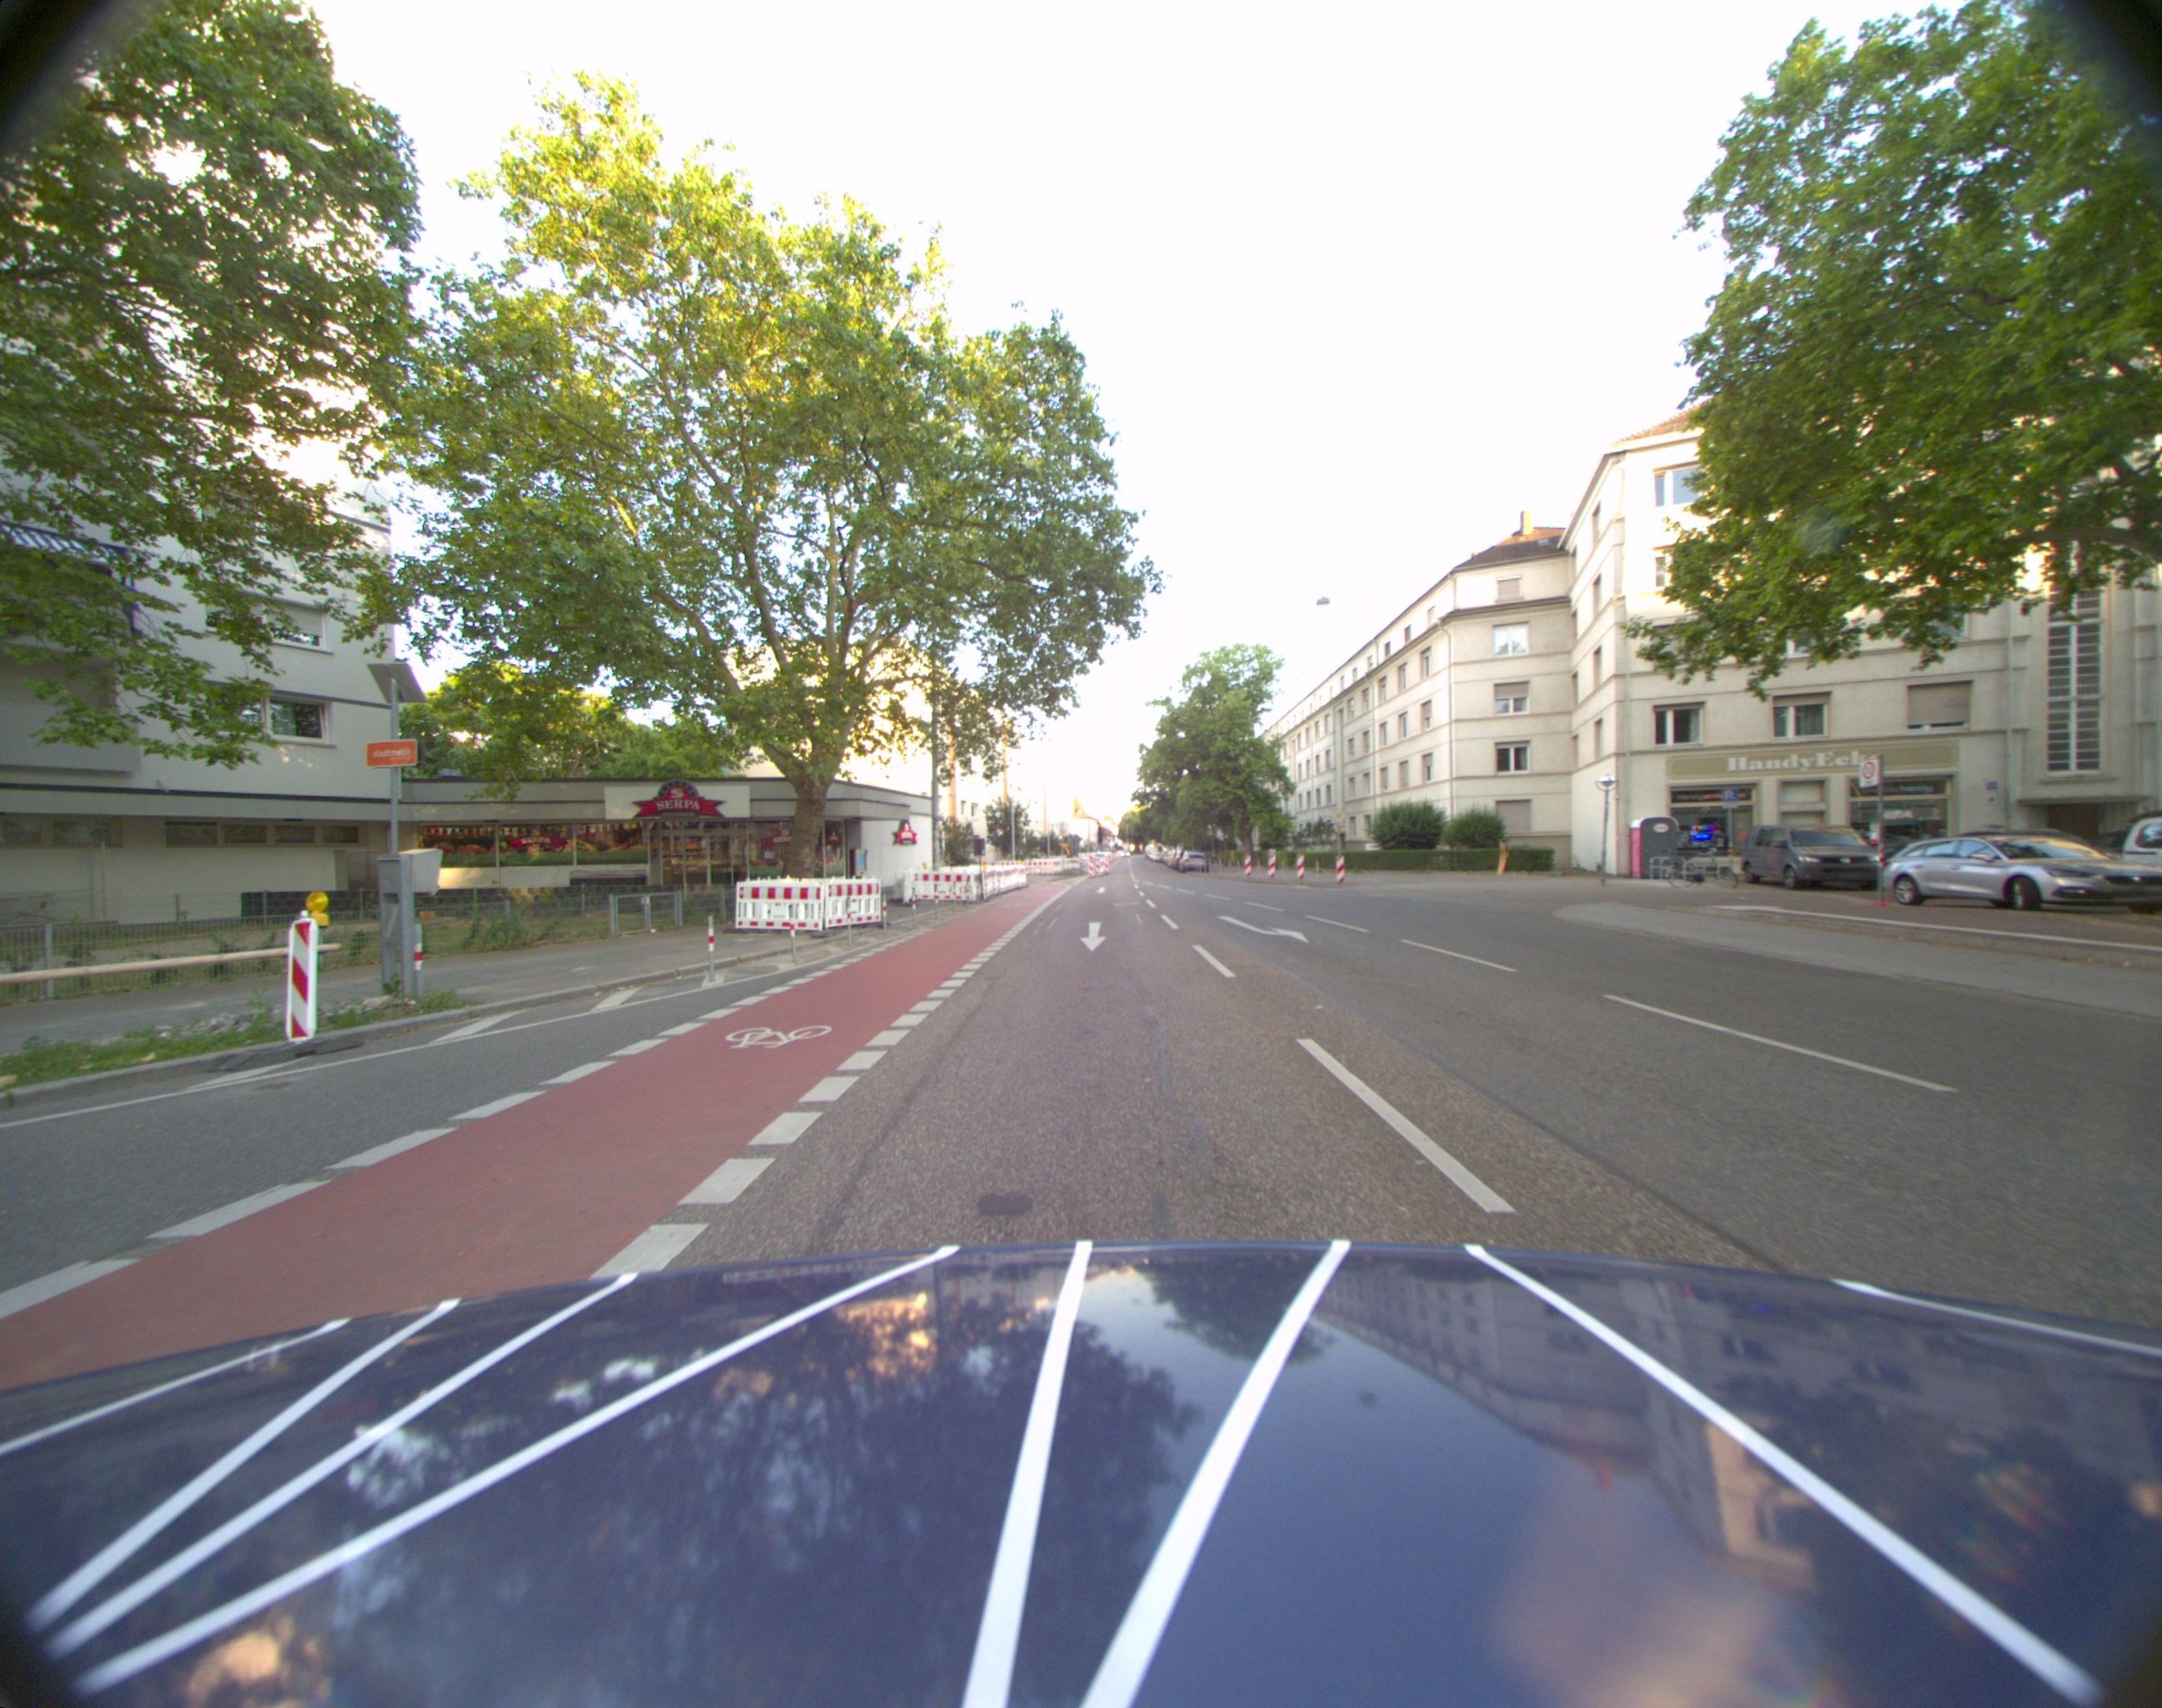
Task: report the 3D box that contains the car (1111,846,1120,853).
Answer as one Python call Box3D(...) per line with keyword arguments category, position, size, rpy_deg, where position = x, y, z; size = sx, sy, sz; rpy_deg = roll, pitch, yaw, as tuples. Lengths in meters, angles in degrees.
Box3D(category="car", position=(8.456, -1.175, 184.984), size=(1.892, 1.591, 4.260), rpy_deg=(-2, 1, 6))

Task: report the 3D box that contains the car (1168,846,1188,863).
Box3D(category="car", position=(10.301, 0.026, 81.079), size=(1.892, 1.591, 4.260), rpy_deg=(-2, 1, 6))

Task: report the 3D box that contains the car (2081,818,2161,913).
Box3D(category="car", position=(20.736, 0.207, 13.156), size=(1.995, 1.771, 4.648), rpy_deg=(0, 0, 21))

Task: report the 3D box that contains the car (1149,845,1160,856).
Box3D(category="car", position=(13.769, -0.632, 142.827), size=(1.892, 1.868, 4.946), rpy_deg=(-2, 1, 6))

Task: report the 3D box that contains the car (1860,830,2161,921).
Box3D(category="car", position=(18.149, 0.374, 14.837), size=(1.996, 1.494, 4.646), rpy_deg=(0, 0, 15))

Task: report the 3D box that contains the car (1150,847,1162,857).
Box3D(category="car", position=(13.115, -0.421, 132.951), size=(1.892, 1.591, 4.260), rpy_deg=(-2, 1, 6))

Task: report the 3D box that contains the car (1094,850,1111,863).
Box3D(category="car", position=(2.874, 0.306, 101.191), size=(1.892, 1.591, 4.260), rpy_deg=(-2, 1, 6))

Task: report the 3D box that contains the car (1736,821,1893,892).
Box3D(category="car", position=(22.627, -0.008, 23.718), size=(1.995, 1.945, 4.646), rpy_deg=(0, 3, 23))

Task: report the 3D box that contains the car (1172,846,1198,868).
Box3D(category="car", position=(8.463, 0.218, 62.301), size=(1.892, 1.681, 4.260), rpy_deg=(-2, 1, 6))

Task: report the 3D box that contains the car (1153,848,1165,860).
Box3D(category="car", position=(12.103, -0.028, 118.031), size=(1.892, 1.591, 4.260), rpy_deg=(-2, 1, 6))

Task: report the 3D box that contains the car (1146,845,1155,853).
Box3D(category="car", position=(15.168, -1.199, 166.231), size=(1.892, 1.591, 4.260), rpy_deg=(-2, 1, 6))

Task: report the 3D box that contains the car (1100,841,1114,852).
Box3D(category="car", position=(4.153, -1.288, 121.973), size=(1.892, 1.651, 4.260), rpy_deg=(-2, 1, 6))

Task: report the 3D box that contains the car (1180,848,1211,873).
Box3D(category="car", position=(8.150, 0.435, 54.353), size=(1.892, 1.591, 4.001), rpy_deg=(-2, 1, 6))

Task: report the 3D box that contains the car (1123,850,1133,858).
Box3D(category="car", position=(10.708, 0.003, 174.356), size=(1.997, 1.838, 4.001), rpy_deg=(-2, 1, 6))

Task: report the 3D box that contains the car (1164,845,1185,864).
Box3D(category="car", position=(9.278, 0.014, 75.568), size=(1.892, 1.764, 4.260), rpy_deg=(-2, 1, 6))

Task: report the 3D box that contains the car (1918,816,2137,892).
Box3D(category="car", position=(27.134, -0.101, 22.081), size=(1.995, 1.945, 4.646), rpy_deg=(0, 3, 23))

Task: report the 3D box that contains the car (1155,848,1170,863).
Box3D(category="car", position=(10.743, 0.200, 99.959), size=(1.892, 1.815, 4.260), rpy_deg=(-2, 1, 6))

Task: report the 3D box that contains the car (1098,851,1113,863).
Box3D(category="car", position=(3.680, 0.430, 113.478), size=(1.892, 1.726, 4.260), rpy_deg=(-2, 1, 6))

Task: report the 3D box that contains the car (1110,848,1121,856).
Box3D(category="car", position=(7.136, -0.463, 156.375), size=(1.892, 1.591, 4.260), rpy_deg=(-2, 1, 6))

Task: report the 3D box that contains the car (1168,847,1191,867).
Box3D(category="car", position=(9.008, 0.251, 69.623), size=(1.892, 1.591, 4.260), rpy_deg=(-2, 1, 6))

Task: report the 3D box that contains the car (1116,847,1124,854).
Box3D(category="car", position=(10.576, -0.962, 205.788), size=(1.892, 1.591, 4.260), rpy_deg=(-2, 1, 6))

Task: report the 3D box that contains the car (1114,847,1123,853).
Box3D(category="car", position=(9.733, -1.016, 196.621), size=(1.892, 1.591, 4.260), rpy_deg=(-2, 1, 6))

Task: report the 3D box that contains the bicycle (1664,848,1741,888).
Box3D(category="bicycle", position=(19.415, 0.437, 23.778), size=(1.802, 1.199, 0.648), rpy_deg=(-1, 2, 33))

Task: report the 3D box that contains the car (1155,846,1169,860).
Box3D(category="car", position=(11.536, -0.153, 108.359), size=(1.892, 1.855, 4.260), rpy_deg=(-2, 1, 6))
